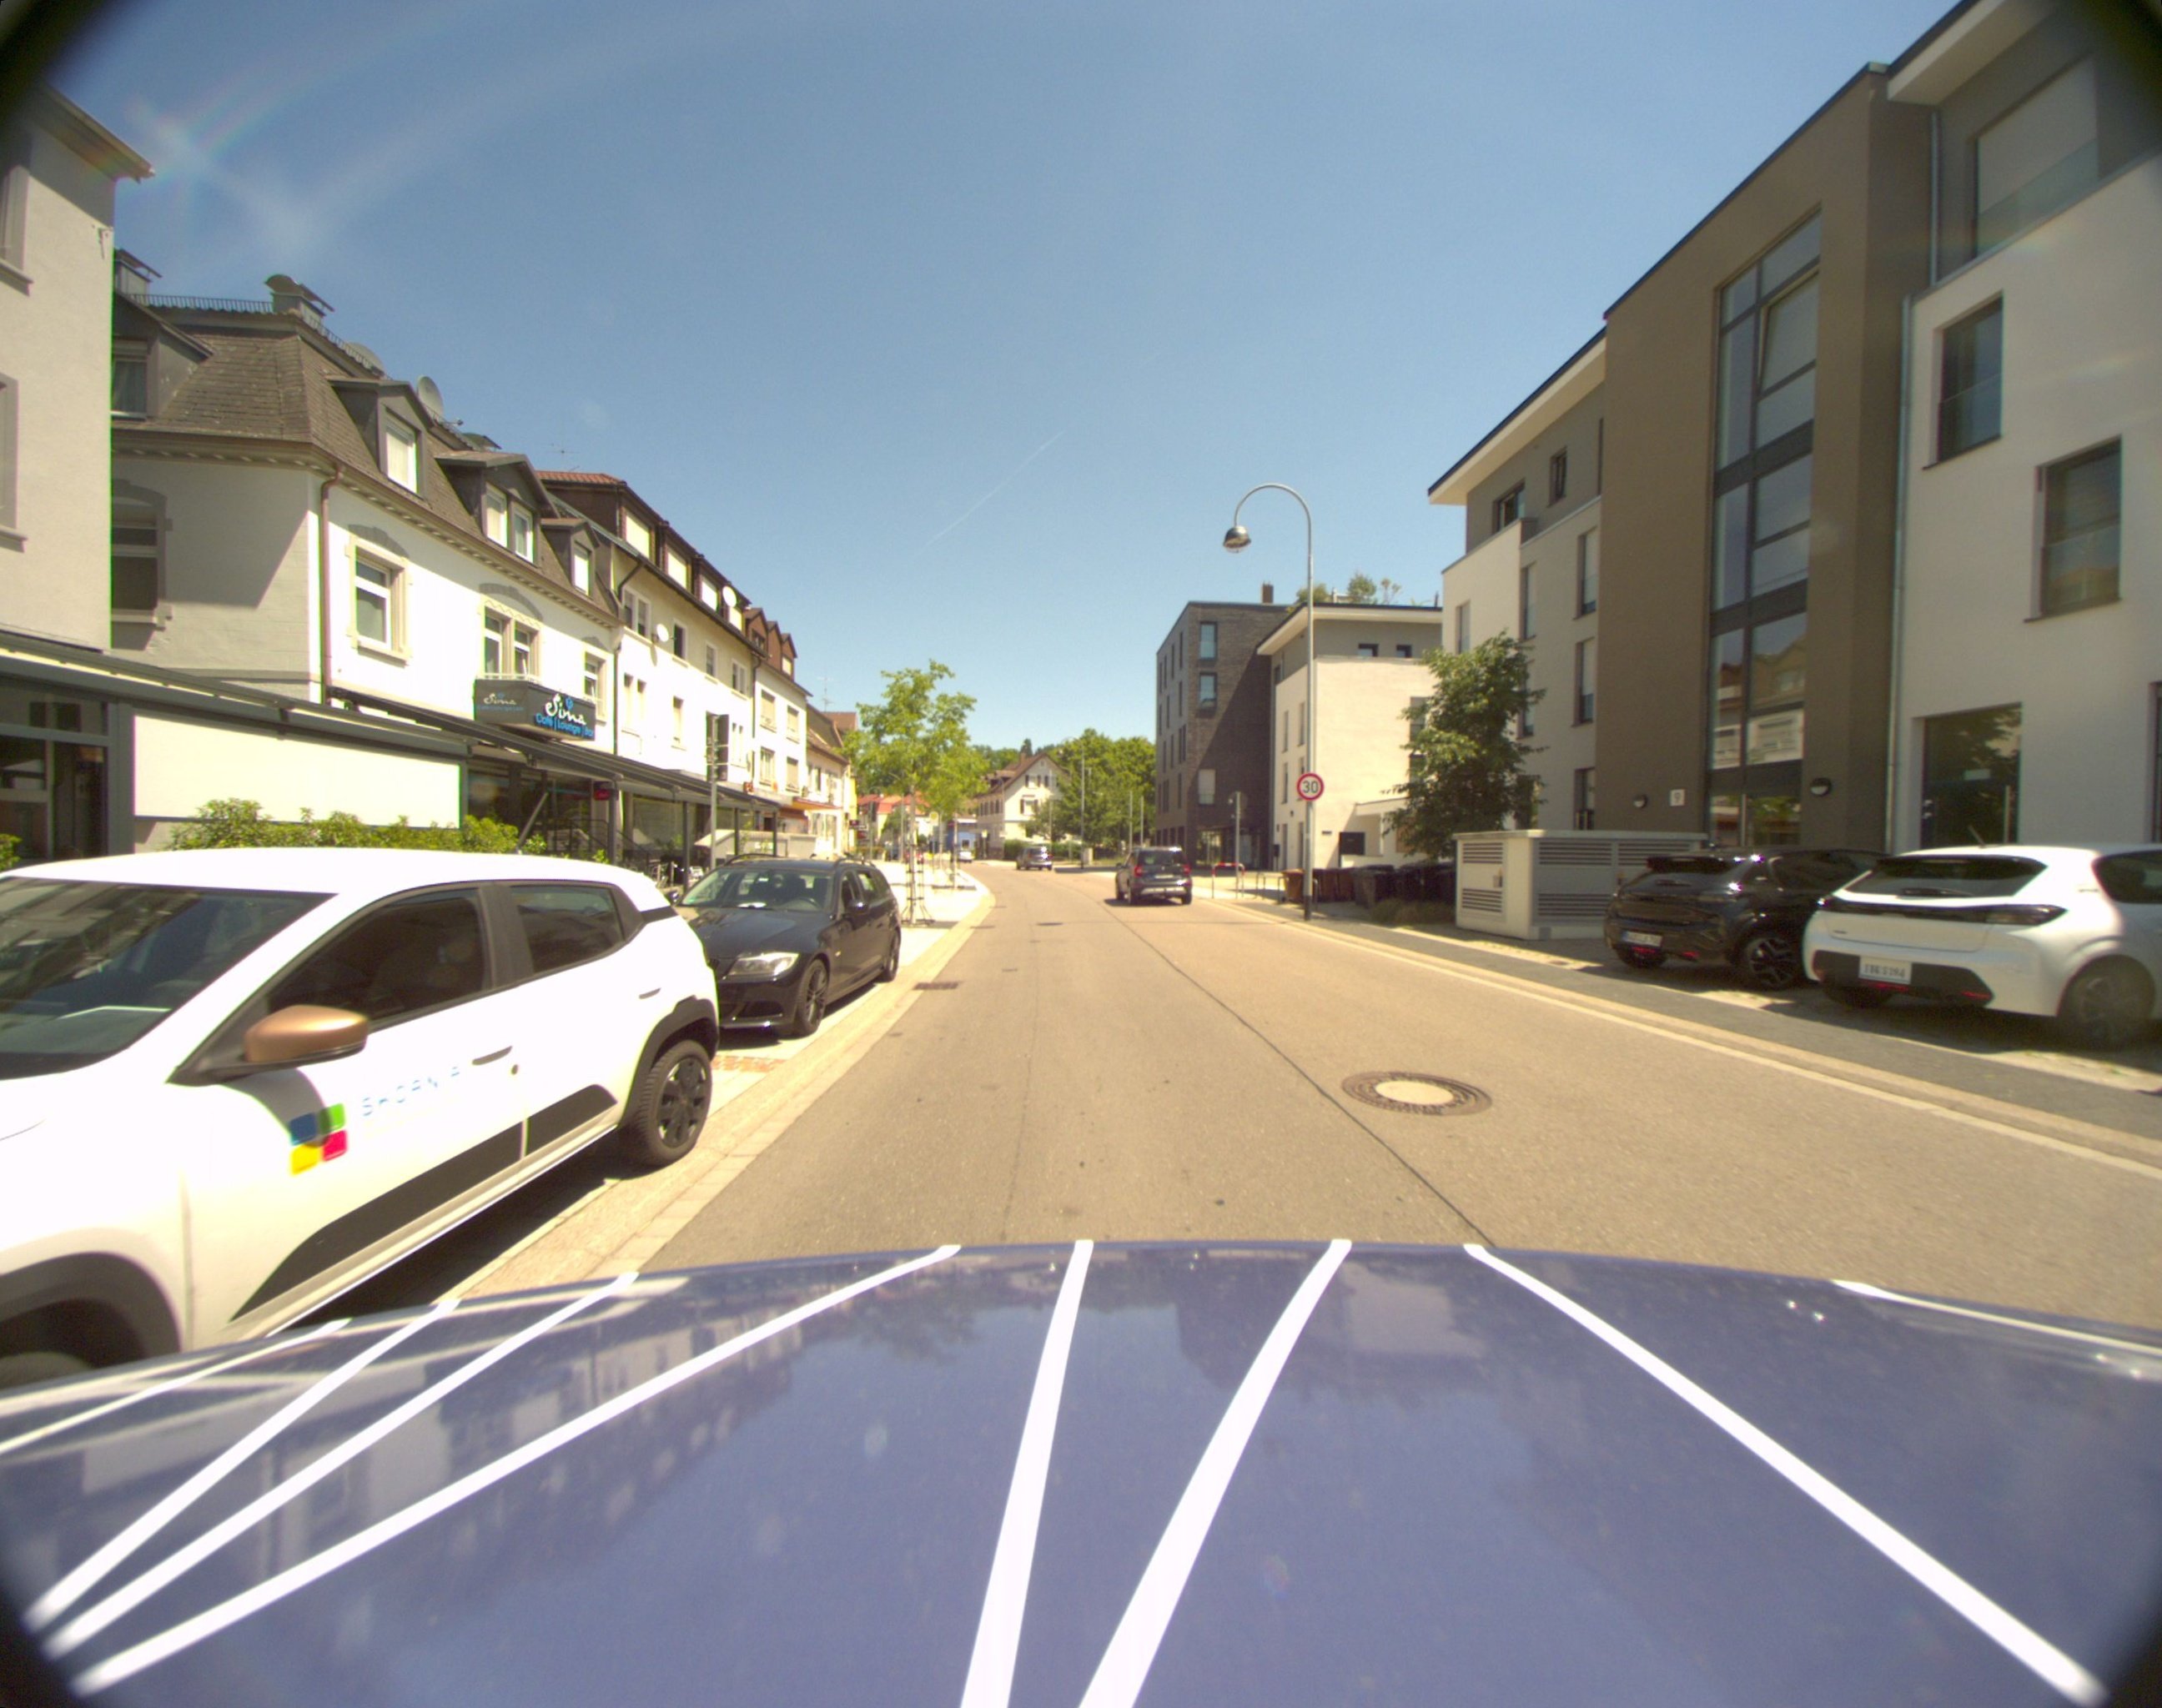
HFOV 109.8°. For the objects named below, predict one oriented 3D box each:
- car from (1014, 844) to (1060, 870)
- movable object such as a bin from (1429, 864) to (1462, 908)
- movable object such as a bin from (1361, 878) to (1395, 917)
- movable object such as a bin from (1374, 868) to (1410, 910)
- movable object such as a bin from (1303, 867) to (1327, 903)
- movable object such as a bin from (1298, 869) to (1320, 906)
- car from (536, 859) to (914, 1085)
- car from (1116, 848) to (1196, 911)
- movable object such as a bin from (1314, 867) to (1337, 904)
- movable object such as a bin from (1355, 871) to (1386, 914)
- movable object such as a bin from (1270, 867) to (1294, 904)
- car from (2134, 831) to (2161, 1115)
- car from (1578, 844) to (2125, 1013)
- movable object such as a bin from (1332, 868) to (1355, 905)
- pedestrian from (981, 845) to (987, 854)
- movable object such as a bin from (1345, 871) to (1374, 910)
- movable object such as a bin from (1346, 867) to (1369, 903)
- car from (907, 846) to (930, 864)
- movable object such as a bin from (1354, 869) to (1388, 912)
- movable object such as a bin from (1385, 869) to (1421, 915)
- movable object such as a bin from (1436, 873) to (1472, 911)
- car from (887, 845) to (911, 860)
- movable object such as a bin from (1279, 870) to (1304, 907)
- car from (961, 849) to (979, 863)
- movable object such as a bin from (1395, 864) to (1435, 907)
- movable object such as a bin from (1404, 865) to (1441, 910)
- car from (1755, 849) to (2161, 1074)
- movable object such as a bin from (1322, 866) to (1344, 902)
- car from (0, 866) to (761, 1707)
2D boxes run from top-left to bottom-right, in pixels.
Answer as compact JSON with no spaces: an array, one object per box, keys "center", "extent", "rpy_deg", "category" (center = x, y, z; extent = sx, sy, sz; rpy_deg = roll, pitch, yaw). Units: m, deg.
[{"center":[-3.082,0.165,52.549],"extent":[1.950,1.649,4.227],"rpy_deg":[-1,1,-22],"category":"car"},{"center":[8.864,0.771,18.481],"extent":[0.556,1.033,0.481],"rpy_deg":[0,1,-21],"category":"movable object such as a bin"},{"center":[6.834,0.999,17.496],"extent":[0.556,0.863,0.481],"rpy_deg":[0,1,-21],"category":"movable object such as a bin"},{"center":[7.988,0.881,19.502],"extent":[0.622,1.033,0.581],"rpy_deg":[0,1,-21],"category":"movable object such as a bin"},{"center":[6.613,0.862,21.489],"extent":[0.484,0.992,0.587],"rpy_deg":[0,1,-4],"category":"movable object such as a bin"},{"center":[6.256,0.913,20.846],"extent":[0.404,0.992,0.555],"rpy_deg":[0,1,-5],"category":"movable object such as a bin"},{"center":[-3.063,0.886,7.623],"extent":[1.837,1.474,4.094],"rpy_deg":[2,1,0],"category":"car"},{"center":[2.146,0.676,22.791],"extent":[1.815,1.691,4.074],"rpy_deg":[0,1,-3],"category":"car"},{"center":[6.693,0.865,20.836],"extent":[0.404,0.992,0.555],"rpy_deg":[0,1,-5],"category":"movable object such as a bin"},{"center":[6.886,0.905,18.080],"extent":[0.555,0.992,0.427],"rpy_deg":[0,1,-2],"category":"movable object such as a bin"},{"center":[5.670,0.885,21.457],"extent":[0.484,0.992,0.587],"rpy_deg":[0,1,-3],"category":"movable object such as a bin"},{"center":[8.306,0.665,3.596],"extent":[4.043,1.642,1.999],"rpy_deg":[-1,1,-3],"category":"car"},{"center":[8.038,0.691,8.263],"extent":[3.998,1.507,1.999],"rpy_deg":[-1,2,-2],"category":"car"},{"center":[7.238,0.883,20.970],"extent":[0.404,0.992,0.555],"rpy_deg":[0,1,-5],"category":"movable object such as a bin"},{"center":[-11.432,-0.541,89.672],"extent":[0.599,1.053,0.566],"rpy_deg":[-1,2,-24],"category":"pedestrian"},{"center":[7.162,0.933,19.534],"extent":[0.556,0.992,0.404],"rpy_deg":[0,1,-17],"category":"movable object such as a bin"},{"center":[7.668,0.852,21.101],"extent":[0.404,0.992,0.555],"rpy_deg":[0,1,-5],"category":"movable object such as a bin"},{"center":[-14.179,0.060,66.321],"extent":[1.685,1.505,3.381],"rpy_deg":[-1,0,-17],"category":"car"},{"center":[7.114,0.897,18.643],"extent":[0.556,1.014,0.560],"rpy_deg":[0,1,-8],"category":"movable object such as a bin"},{"center":[7.619,0.888,17.993],"extent":[0.556,1.033,0.544],"rpy_deg":[0,1,-21],"category":"movable object such as a bin"},{"center":[8.662,0.876,17.651],"extent":[0.556,0.863,0.481],"rpy_deg":[0,1,-21],"category":"movable object such as a bin"},{"center":[-18.837,-0.193,78.525],"extent":[1.738,1.464,4.314],"rpy_deg":[2,0,-22],"category":"car"},{"center":[5.765,0.933,20.828],"extent":[0.484,0.992,0.587],"rpy_deg":[0,1,-5],"category":"movable object such as a bin"},{"center":[-11.286,0.193,77.439],"extent":[1.672,1.388,3.845],"rpy_deg":[-1,0,-7],"category":"car"},{"center":[8.330,0.770,18.962],"extent":[0.678,1.033,0.603],"rpy_deg":[0,1,-21],"category":"movable object such as a bin"},{"center":[8.179,0.794,18.188],"extent":[0.578,1.033,0.549],"rpy_deg":[0,1,-21],"category":"movable object such as a bin"},{"center":[8.206,0.708,6.095],"extent":[3.998,1.413,1.909],"rpy_deg":[-1,1,-3],"category":"car"},{"center":[7.153,0.849,21.570],"extent":[0.426,0.992,0.523],"rpy_deg":[0,1,-4],"category":"movable object such as a bin"},{"center":[-2.866,0.873,2.502],"extent":[1.741,1.477,4.054],"rpy_deg":[3,1,2],"category":"car"}]
